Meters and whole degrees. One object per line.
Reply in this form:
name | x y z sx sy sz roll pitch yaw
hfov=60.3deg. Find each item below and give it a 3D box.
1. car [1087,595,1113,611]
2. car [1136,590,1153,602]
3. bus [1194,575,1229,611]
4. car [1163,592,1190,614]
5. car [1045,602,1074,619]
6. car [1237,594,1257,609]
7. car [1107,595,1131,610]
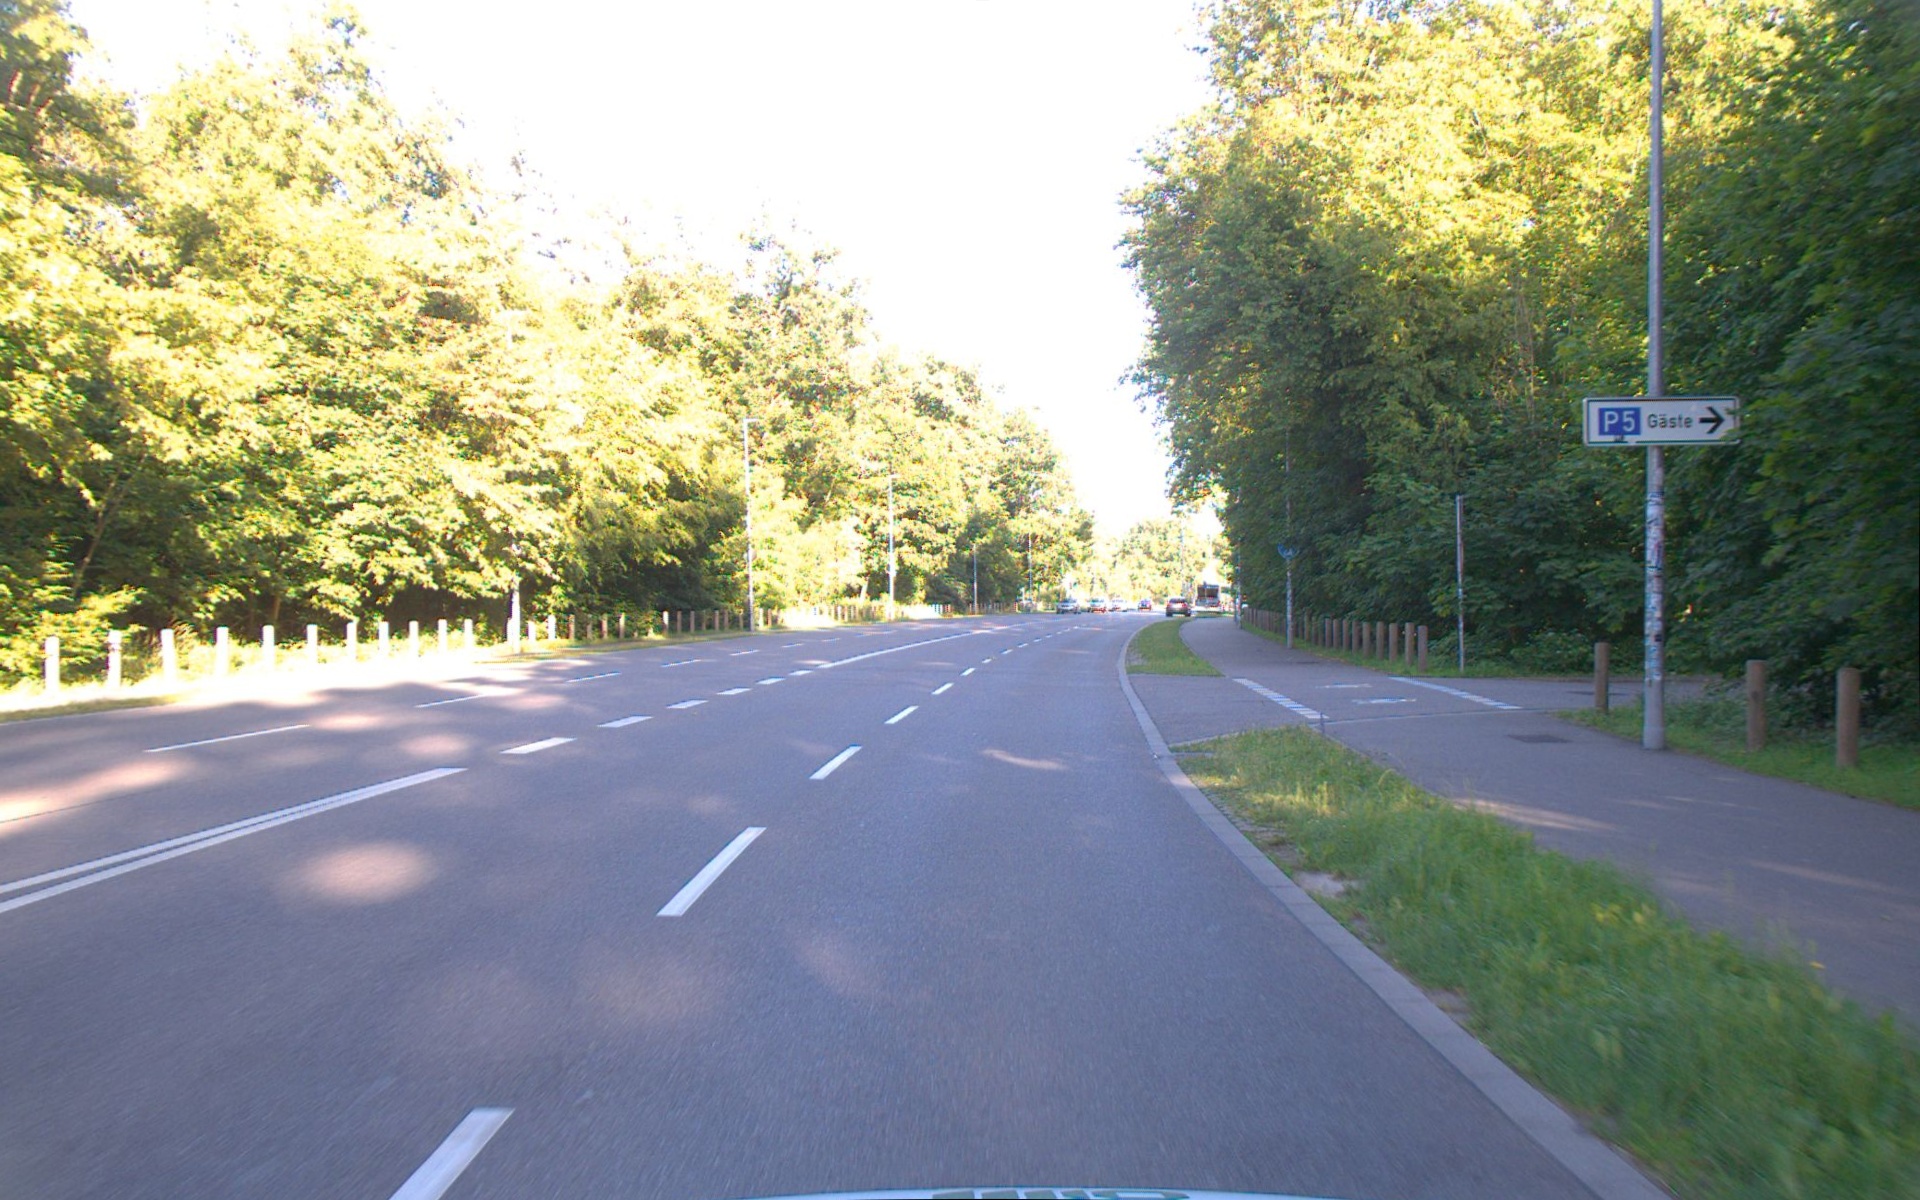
car | 13.723 0.311 161.885 1.742 1.490 4.277 -1 -1 16
car | 22.901 -0.474 205.068 1.627 1.544 3.810 0 0 15
bus | 24.835 -0.659 163.008 2.549 3.427 7.982 1 0 14
car | 18.674 0.235 142.718 1.840 1.796 4.003 0 0 15
car | 8.614 0.897 142.462 1.741 1.433 4.169 0 1 14
car | 34.463 0.156 198.677 1.824 1.713 3.774 -1 0 18
car | 17.076 0.295 177.771 1.745 1.549 4.401 0 0 16
